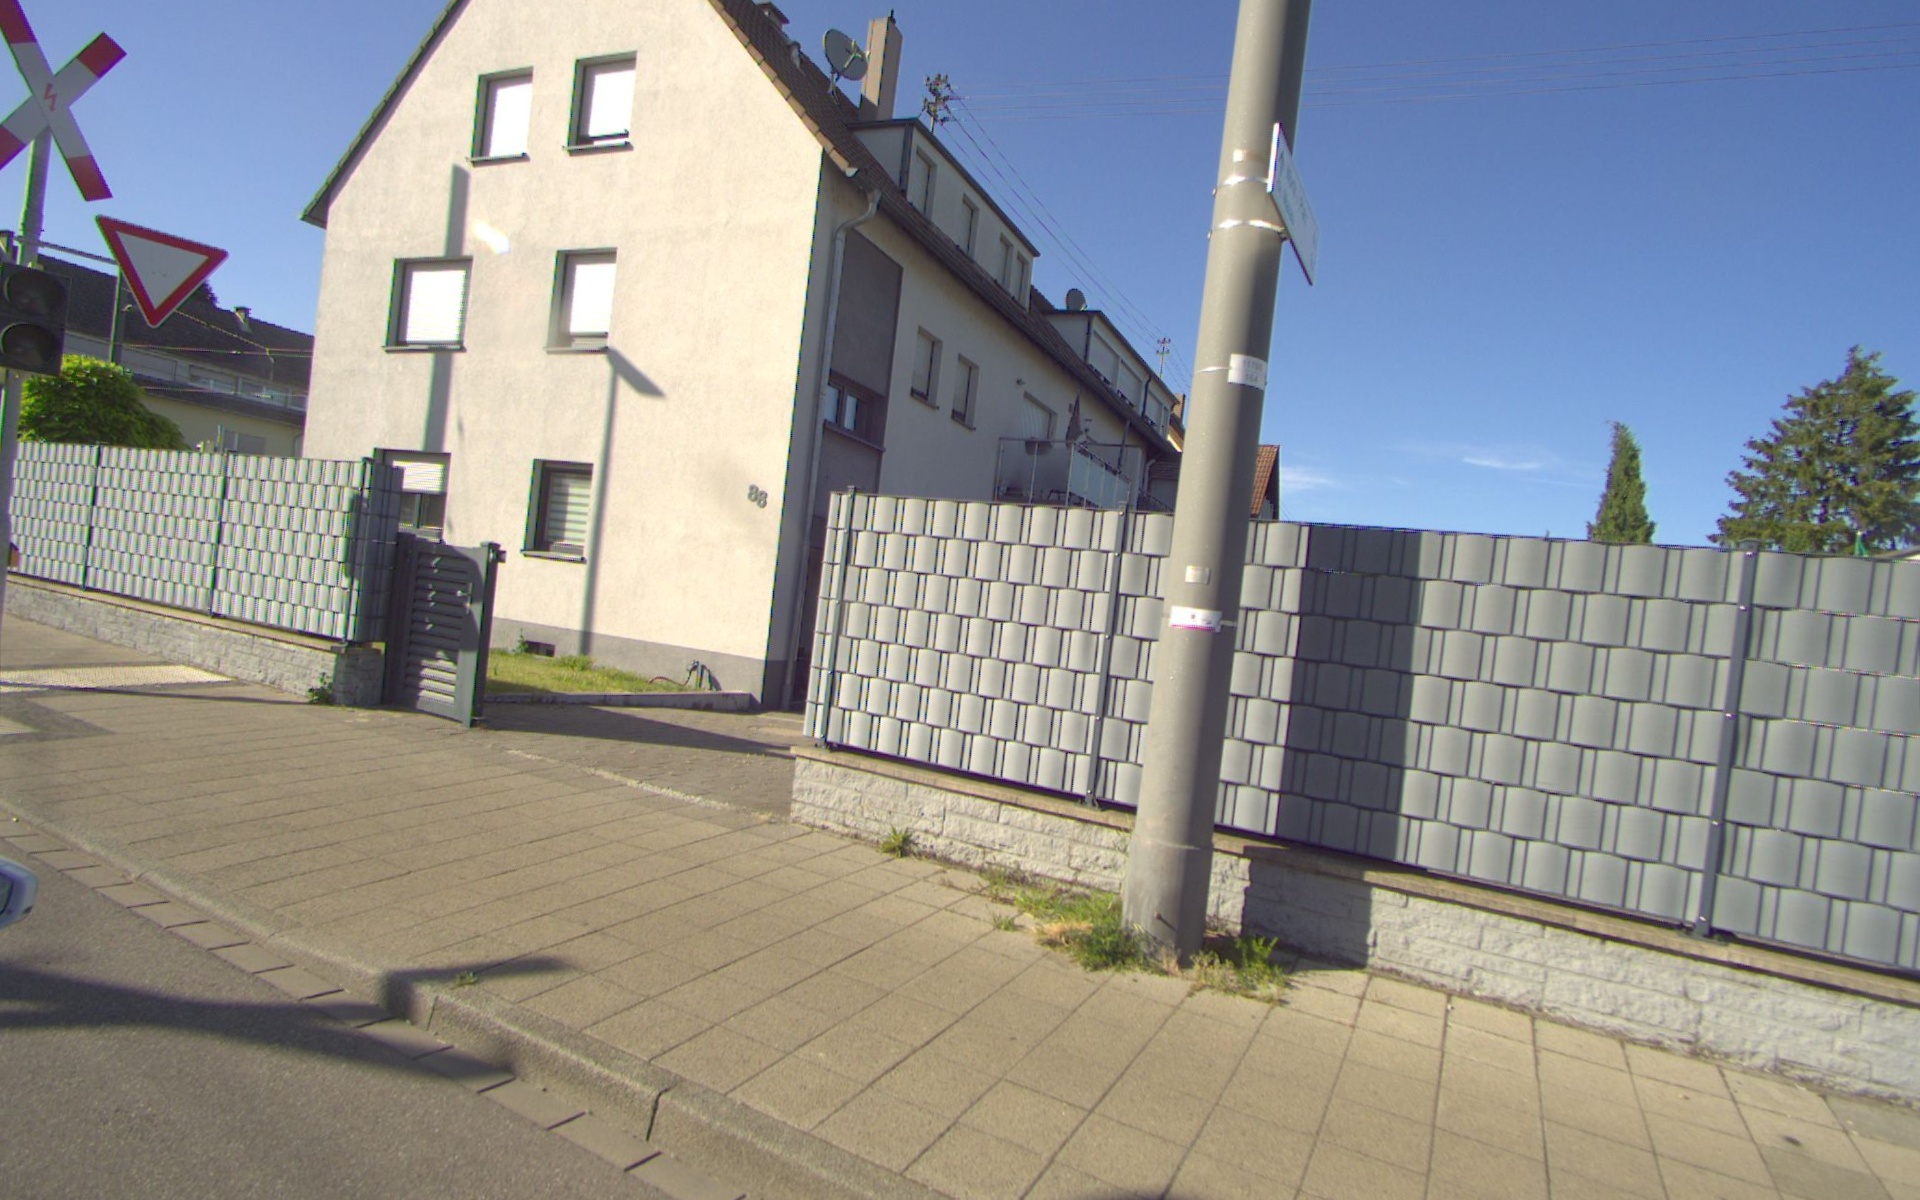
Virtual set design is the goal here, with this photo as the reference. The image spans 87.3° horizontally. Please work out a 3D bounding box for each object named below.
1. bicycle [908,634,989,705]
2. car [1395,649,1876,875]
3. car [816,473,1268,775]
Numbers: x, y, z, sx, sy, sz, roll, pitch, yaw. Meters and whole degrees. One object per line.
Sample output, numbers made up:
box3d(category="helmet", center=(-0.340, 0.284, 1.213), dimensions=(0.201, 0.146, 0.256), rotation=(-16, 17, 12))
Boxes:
box3d(category="bicycle", center=(-0.163, 1.183, 16.842), dimensions=(0.533, 1.073, 1.817), rotation=(7, -2, 24))
box3d(category="car", center=(6.130, 1.417, 9.605), dimensions=(3.425, 1.479, 1.561), rotation=(6, -1, 21))
box3d(category="car", center=(1.127, 0.366, 10.668), dimensions=(1.974, 2.460, 4.967), rotation=(5, -2, 43))
